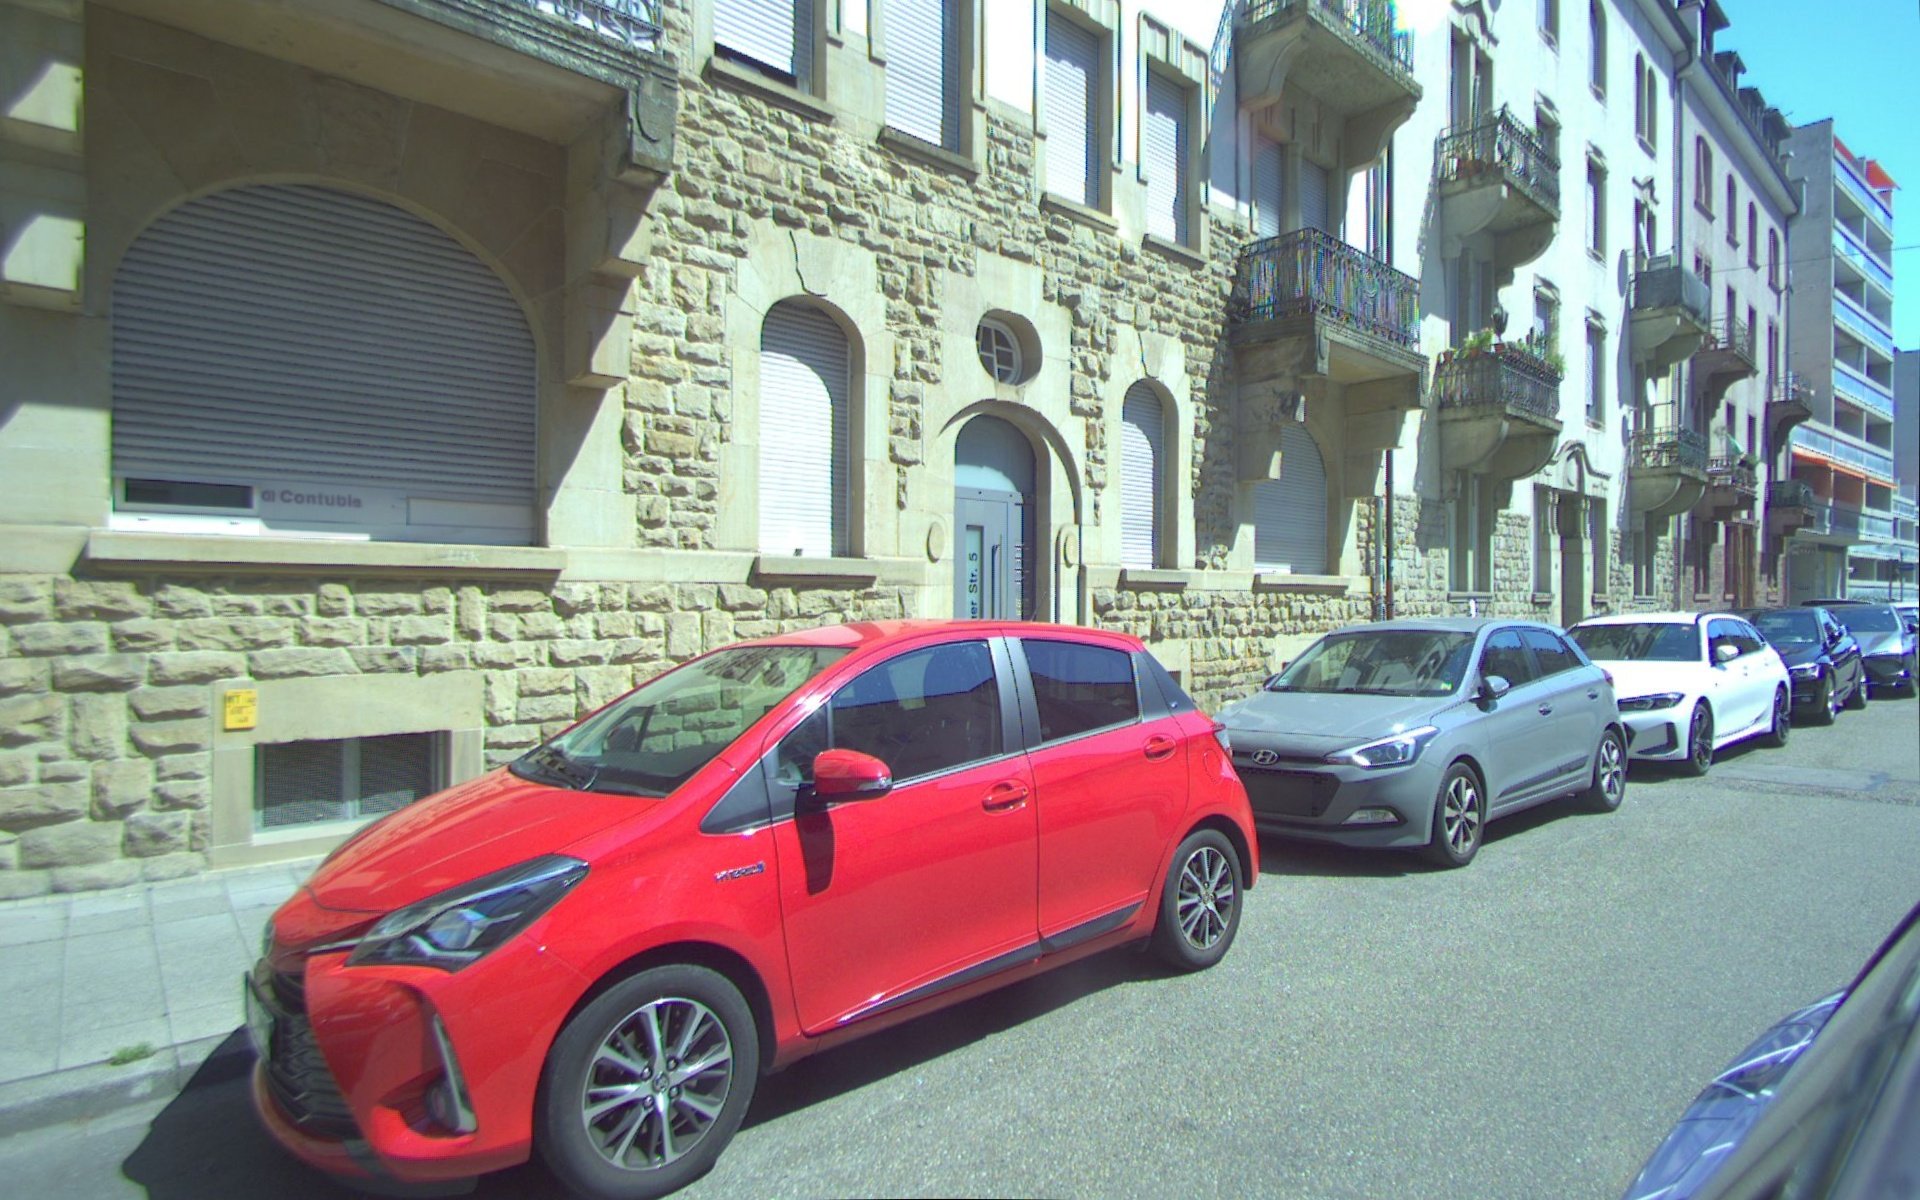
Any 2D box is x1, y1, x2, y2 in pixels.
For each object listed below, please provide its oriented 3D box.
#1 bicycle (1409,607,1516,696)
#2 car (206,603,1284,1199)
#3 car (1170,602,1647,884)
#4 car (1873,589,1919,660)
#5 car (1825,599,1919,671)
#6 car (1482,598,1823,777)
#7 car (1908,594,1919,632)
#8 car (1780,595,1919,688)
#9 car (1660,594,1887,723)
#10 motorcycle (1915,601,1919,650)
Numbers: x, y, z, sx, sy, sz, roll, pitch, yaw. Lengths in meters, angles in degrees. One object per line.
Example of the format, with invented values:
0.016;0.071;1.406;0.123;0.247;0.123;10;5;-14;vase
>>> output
7.674;0.747;15.420;2.088;1.204;0.641;-1;4;-41;bicycle
-0.486;0.790;3.899;3.776;1.471;1.572;-1;-2;-42;car
3.363;0.795;7.289;3.788;1.471;1.592;-1;-1;-40;car
24.007;0.557;24.829;4.016;1.642;1.653;-1;1;-37;car
20.149;0.690;21.722;4.276;1.375;1.789;0;1;-41;car
7.429;0.764;10.679;4.514;1.471;1.720;-1;-1;-39;car
41.551;0.546;42.798;3.835;1.512;1.752;-1;1;-41;car
16.076;0.643;17.954;4.414;1.450;1.825;0;0;-43;car
11.545;0.688;14.244;4.588;1.476;1.739;-1;1;-41;car
29.367;0.692;29.437;2.158;1.448;0.732;-3;-2;9;motorcycle
